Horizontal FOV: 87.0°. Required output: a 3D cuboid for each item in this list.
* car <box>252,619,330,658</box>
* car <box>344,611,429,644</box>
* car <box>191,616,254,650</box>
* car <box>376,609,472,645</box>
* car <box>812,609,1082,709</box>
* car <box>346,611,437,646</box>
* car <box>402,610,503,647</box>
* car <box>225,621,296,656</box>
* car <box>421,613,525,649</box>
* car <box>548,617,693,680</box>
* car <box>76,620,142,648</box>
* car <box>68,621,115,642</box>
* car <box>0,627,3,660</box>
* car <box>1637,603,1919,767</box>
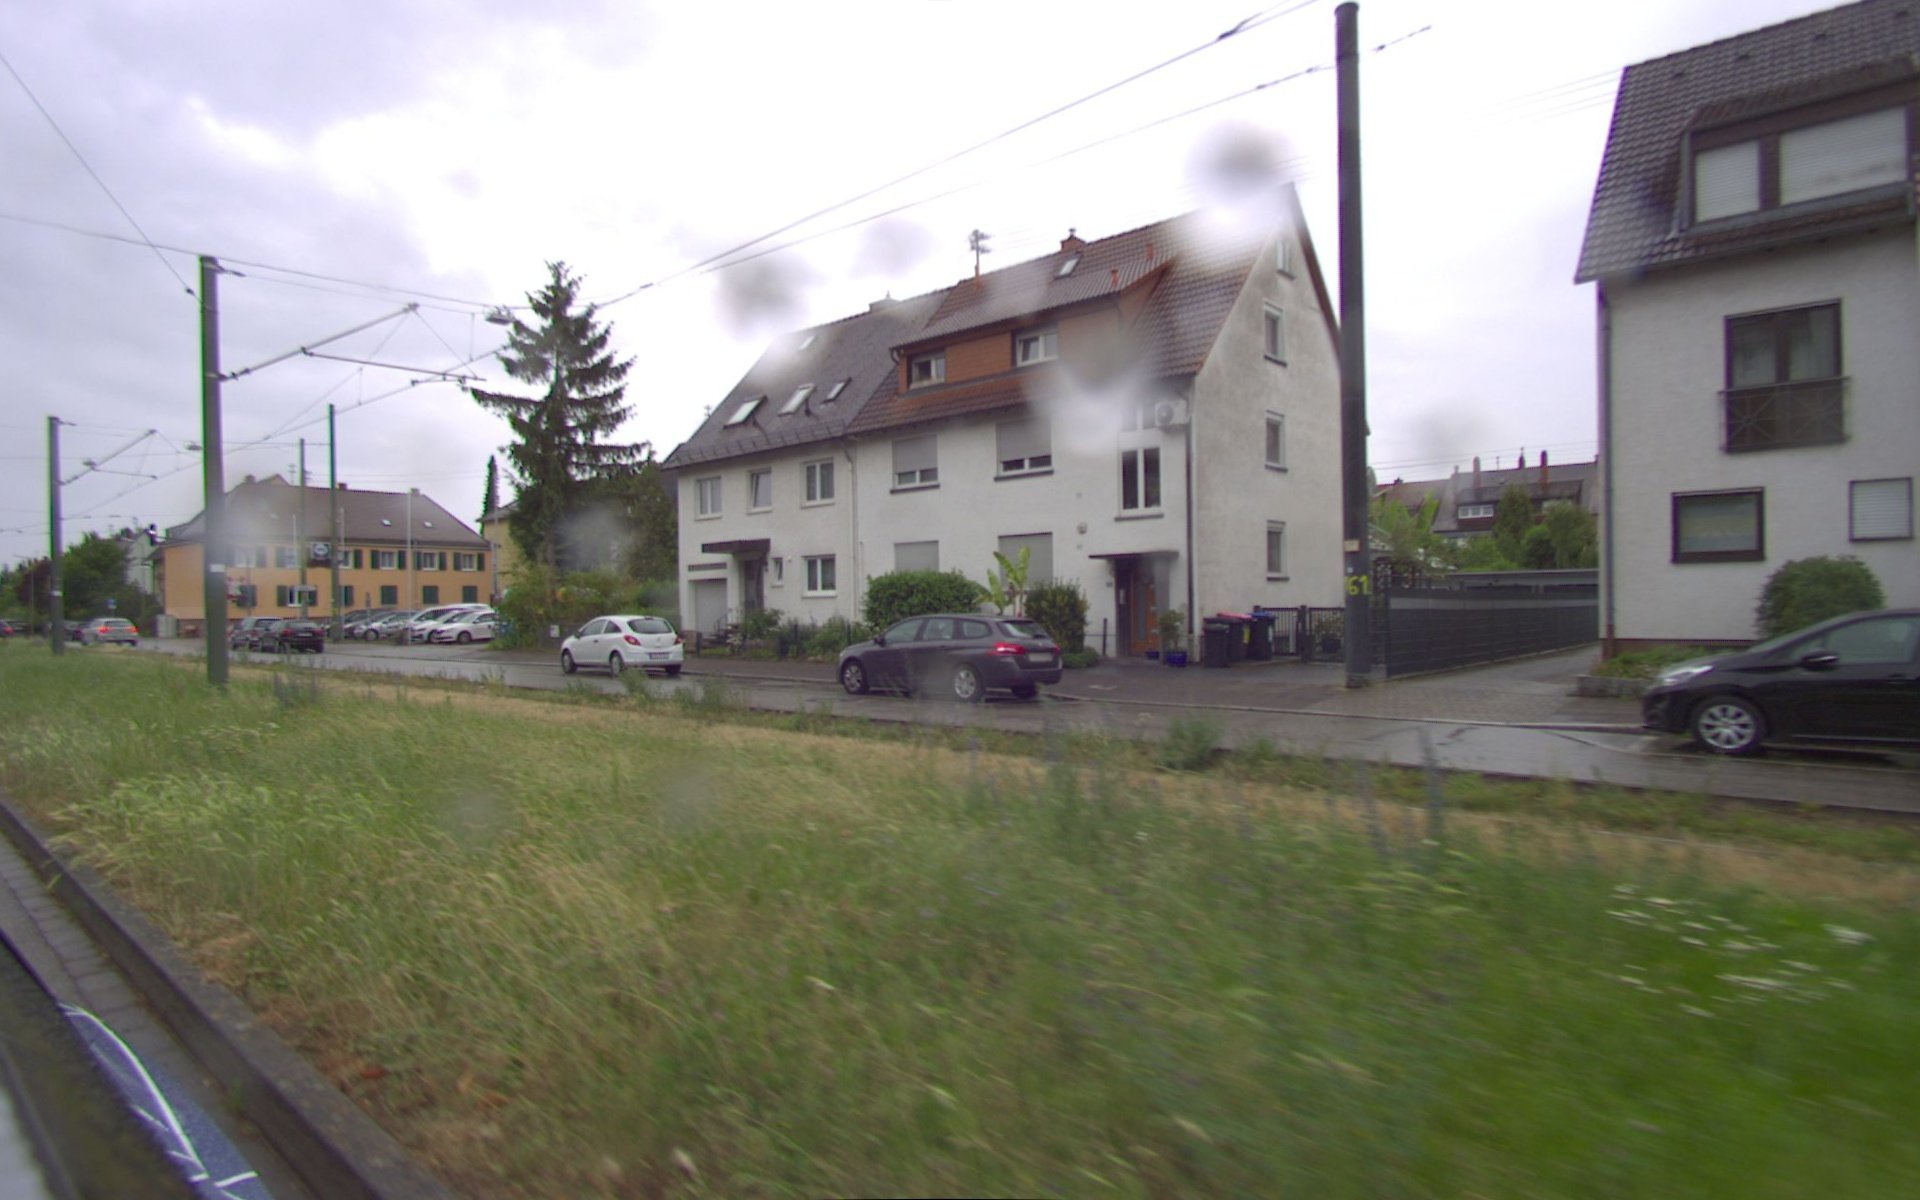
[{"bbox_3d":[-29.156,1.649,44.050,3.999,1.602,1.887,-1,-1,42],"label":"car"},{"bbox_3d":[-31.118,1.485,55.014,3.931,1.607,1.919,-2,0,-29],"label":"car"},{"bbox_3d":[-38.957,1.718,53.423,4.001,1.670,1.971,-1,1,44],"label":"car"},{"bbox_3d":[-26.924,1.337,50.914,3.938,1.607,1.916,-2,0,-41],"label":"car"},{"bbox_3d":[-0.338,0.974,17.900,4.754,1.543,1.867,-1,-2,41],"label":"car"},{"bbox_3d":[-29.697,1.457,52.861,3.934,1.607,1.918,-2,0,-35],"label":"car"},{"bbox_3d":[-24.618,1.359,49.149,1.914,1.607,3.943,-2,0,43],"label":"car"},{"bbox_3d":[-32.617,1.785,47.148,3.999,1.541,1.857,-1,-1,42],"label":"car"},{"bbox_3d":[-22.806,1.413,47.459,1.914,1.475,3.943,-2,0,43],"label":"car"},{"bbox_3d":[-8.585,1.178,25.446,3.998,1.451,1.693,-1,-2,41],"label":"car"},{"bbox_3d":[-45.431,1.801,54.010,4.276,1.442,2.079,-1,-1,41],"label":"car"},{"bbox_3d":[-64.126,2.302,74.706,4.075,1.442,2.069,-1,-1,41],"label":"car"},{"bbox_3d":[-52.409,2.289,52.382,4.061,1.756,2.003,0,-1,-41],"label":"car"},{"bbox_3d":[8.945,0.762,9.639,3.936,1.437,1.754,-2,-2,42],"label":"car"}]
